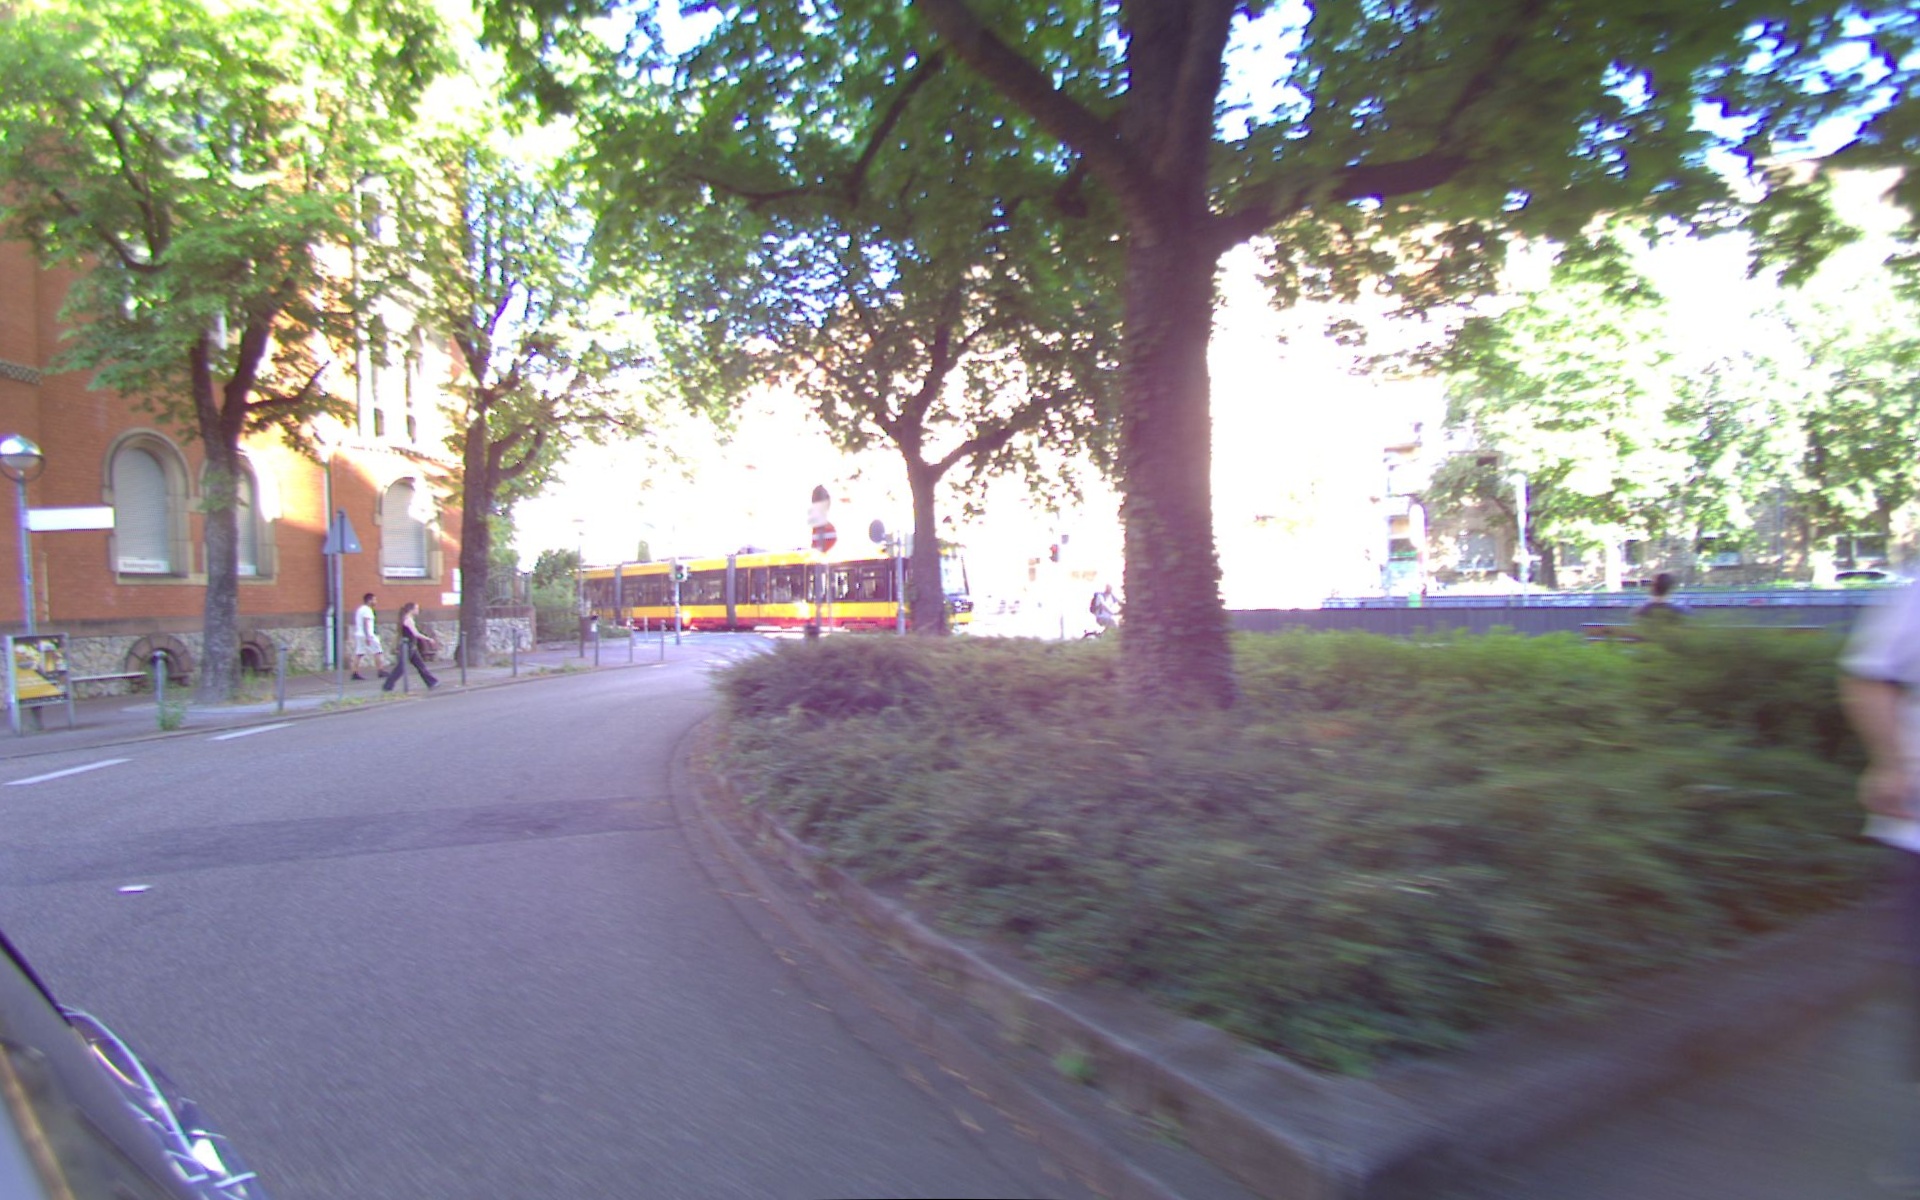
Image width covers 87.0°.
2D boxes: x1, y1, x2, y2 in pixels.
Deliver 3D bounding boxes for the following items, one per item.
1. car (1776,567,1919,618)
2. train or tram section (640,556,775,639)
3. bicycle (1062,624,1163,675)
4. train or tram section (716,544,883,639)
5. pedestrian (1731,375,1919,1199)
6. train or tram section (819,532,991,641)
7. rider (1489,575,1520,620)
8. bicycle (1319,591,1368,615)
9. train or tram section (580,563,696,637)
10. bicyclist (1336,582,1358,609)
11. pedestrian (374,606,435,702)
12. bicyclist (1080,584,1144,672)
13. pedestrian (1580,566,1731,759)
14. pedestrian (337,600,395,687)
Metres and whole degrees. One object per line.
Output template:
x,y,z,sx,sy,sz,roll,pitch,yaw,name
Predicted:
32.461,-0.256,36.796,3.925,1.692,1.938,-2,0,25,car
-12.079,-0.096,47.983,2.891,3.626,7.195,-3,1,-44,train or tram section
3.098,0.995,20.708,0.759,0.965,1.983,-2,0,-44,bicycle
-6.890,-0.288,42.544,2.878,3.641,7.866,-2,0,-44,train or tram section
2.287,0.395,1.966,0.767,1.696,0.921,-2,0,-12,pedestrian
-2.159,-0.431,37.565,2.879,3.668,6.352,-2,0,-44,train or tram section
20.818,-0.111,38.730,0.659,1.694,0.824,-1,2,-12,rider
15.729,0.124,41.512,1.721,0.953,0.653,-2,0,6,bicycle
-17.034,-0.005,53.217,2.895,3.617,7.195,-3,1,-44,train or tram section
15.852,-0.185,41.498,0.668,1.062,0.611,-2,0,5,bicyclist
-9.777,0.928,17.804,0.841,1.617,0.603,-2,0,-35,pedestrian
3.100,0.567,20.677,0.686,1.729,1.048,-2,0,-44,bicyclist
6.452,0.562,9.442,0.811,1.696,0.896,-2,0,12,pedestrian
-11.737,0.844,19.999,0.846,1.655,0.871,-2,0,-38,pedestrian
